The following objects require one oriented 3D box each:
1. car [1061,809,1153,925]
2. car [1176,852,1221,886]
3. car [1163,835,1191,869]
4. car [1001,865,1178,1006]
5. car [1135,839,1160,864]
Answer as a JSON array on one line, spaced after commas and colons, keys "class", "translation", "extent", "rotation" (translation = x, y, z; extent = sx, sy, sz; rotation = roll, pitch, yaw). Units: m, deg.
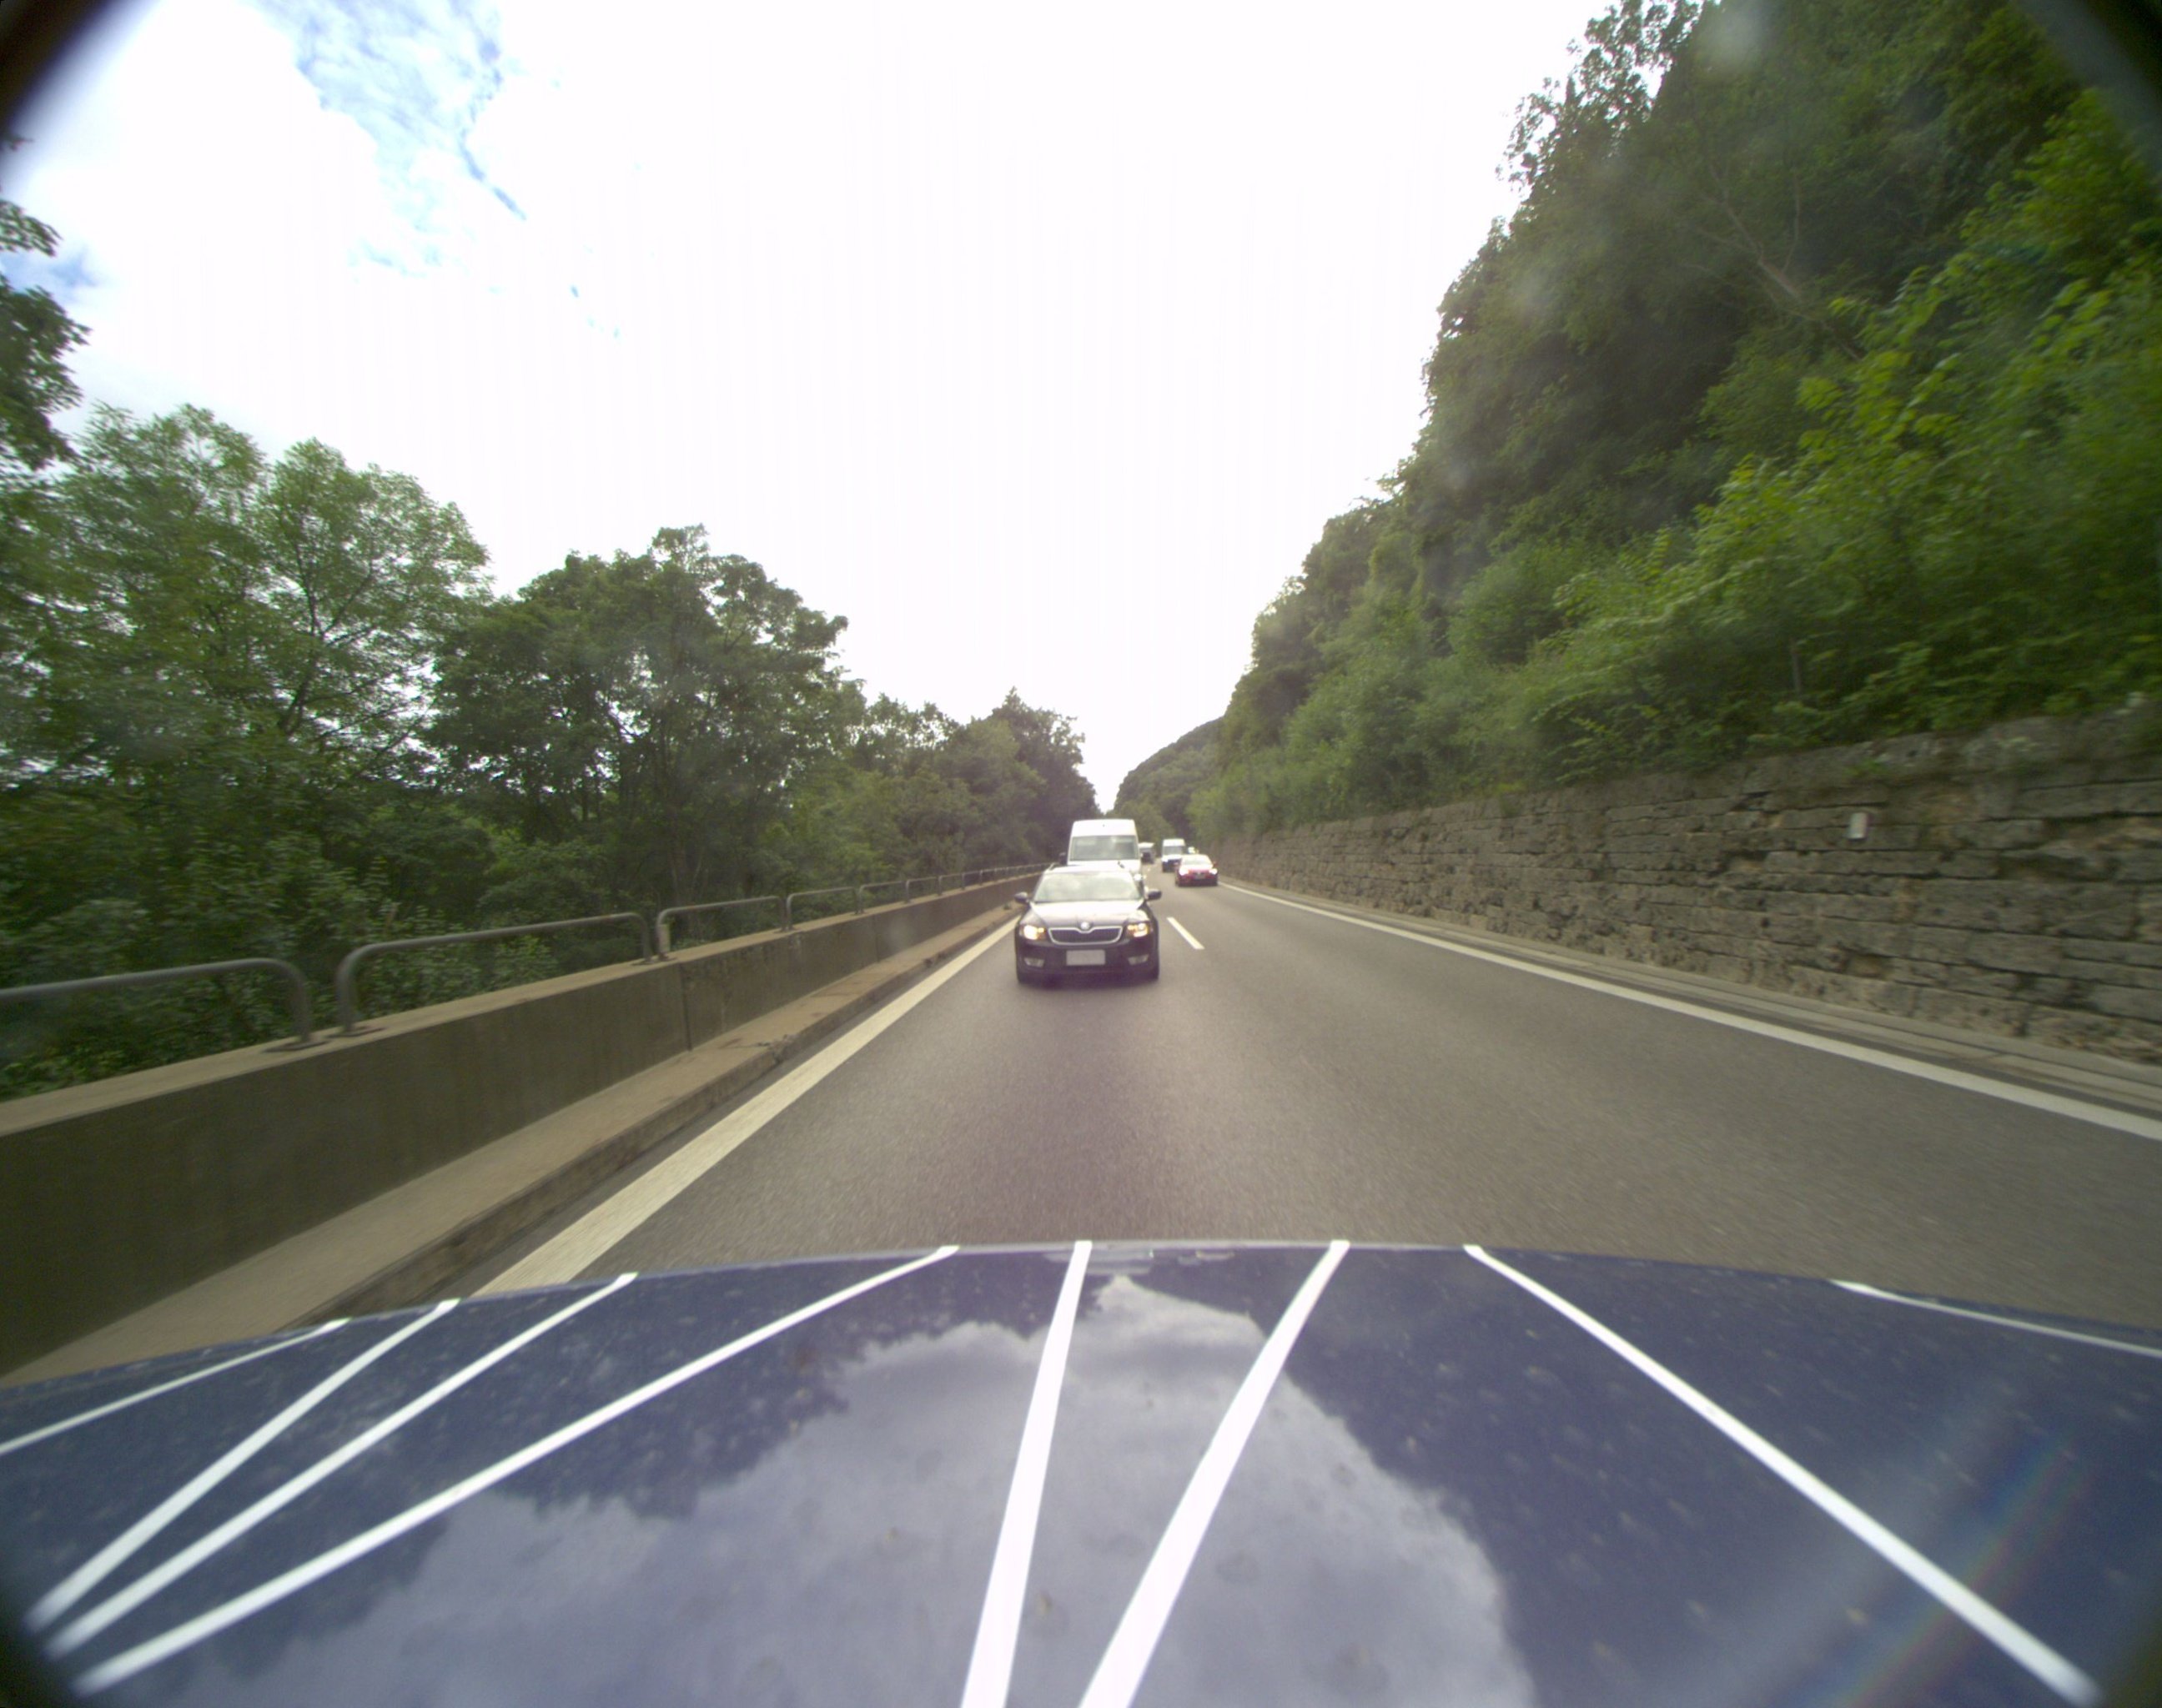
[{"class": "car", "translation": [0.654, 0.283, 20.161], "extent": [1.998, 2.550, 5.918], "rotation": [-2, 0, 1]}, {"class": "car", "translation": [5.417, 0.651, 35.553], "extent": [1.770, 1.451, 4.412], "rotation": [-2, 0, 5]}, {"class": "car", "translation": [7.646, -0.182, 60.711], "extent": [2.030, 2.570, 6.277], "rotation": [-2, 0, 7]}, {"class": "car", "translation": [0.148, 0.951, 11.331], "extent": [1.913, 1.391, 5.697], "rotation": [-3, 0, 1]}, {"class": "car", "translation": [8.552, -0.332, 97.027], "extent": [2.275, 2.941, 7.191], "rotation": [-2, 0, 11]}]
